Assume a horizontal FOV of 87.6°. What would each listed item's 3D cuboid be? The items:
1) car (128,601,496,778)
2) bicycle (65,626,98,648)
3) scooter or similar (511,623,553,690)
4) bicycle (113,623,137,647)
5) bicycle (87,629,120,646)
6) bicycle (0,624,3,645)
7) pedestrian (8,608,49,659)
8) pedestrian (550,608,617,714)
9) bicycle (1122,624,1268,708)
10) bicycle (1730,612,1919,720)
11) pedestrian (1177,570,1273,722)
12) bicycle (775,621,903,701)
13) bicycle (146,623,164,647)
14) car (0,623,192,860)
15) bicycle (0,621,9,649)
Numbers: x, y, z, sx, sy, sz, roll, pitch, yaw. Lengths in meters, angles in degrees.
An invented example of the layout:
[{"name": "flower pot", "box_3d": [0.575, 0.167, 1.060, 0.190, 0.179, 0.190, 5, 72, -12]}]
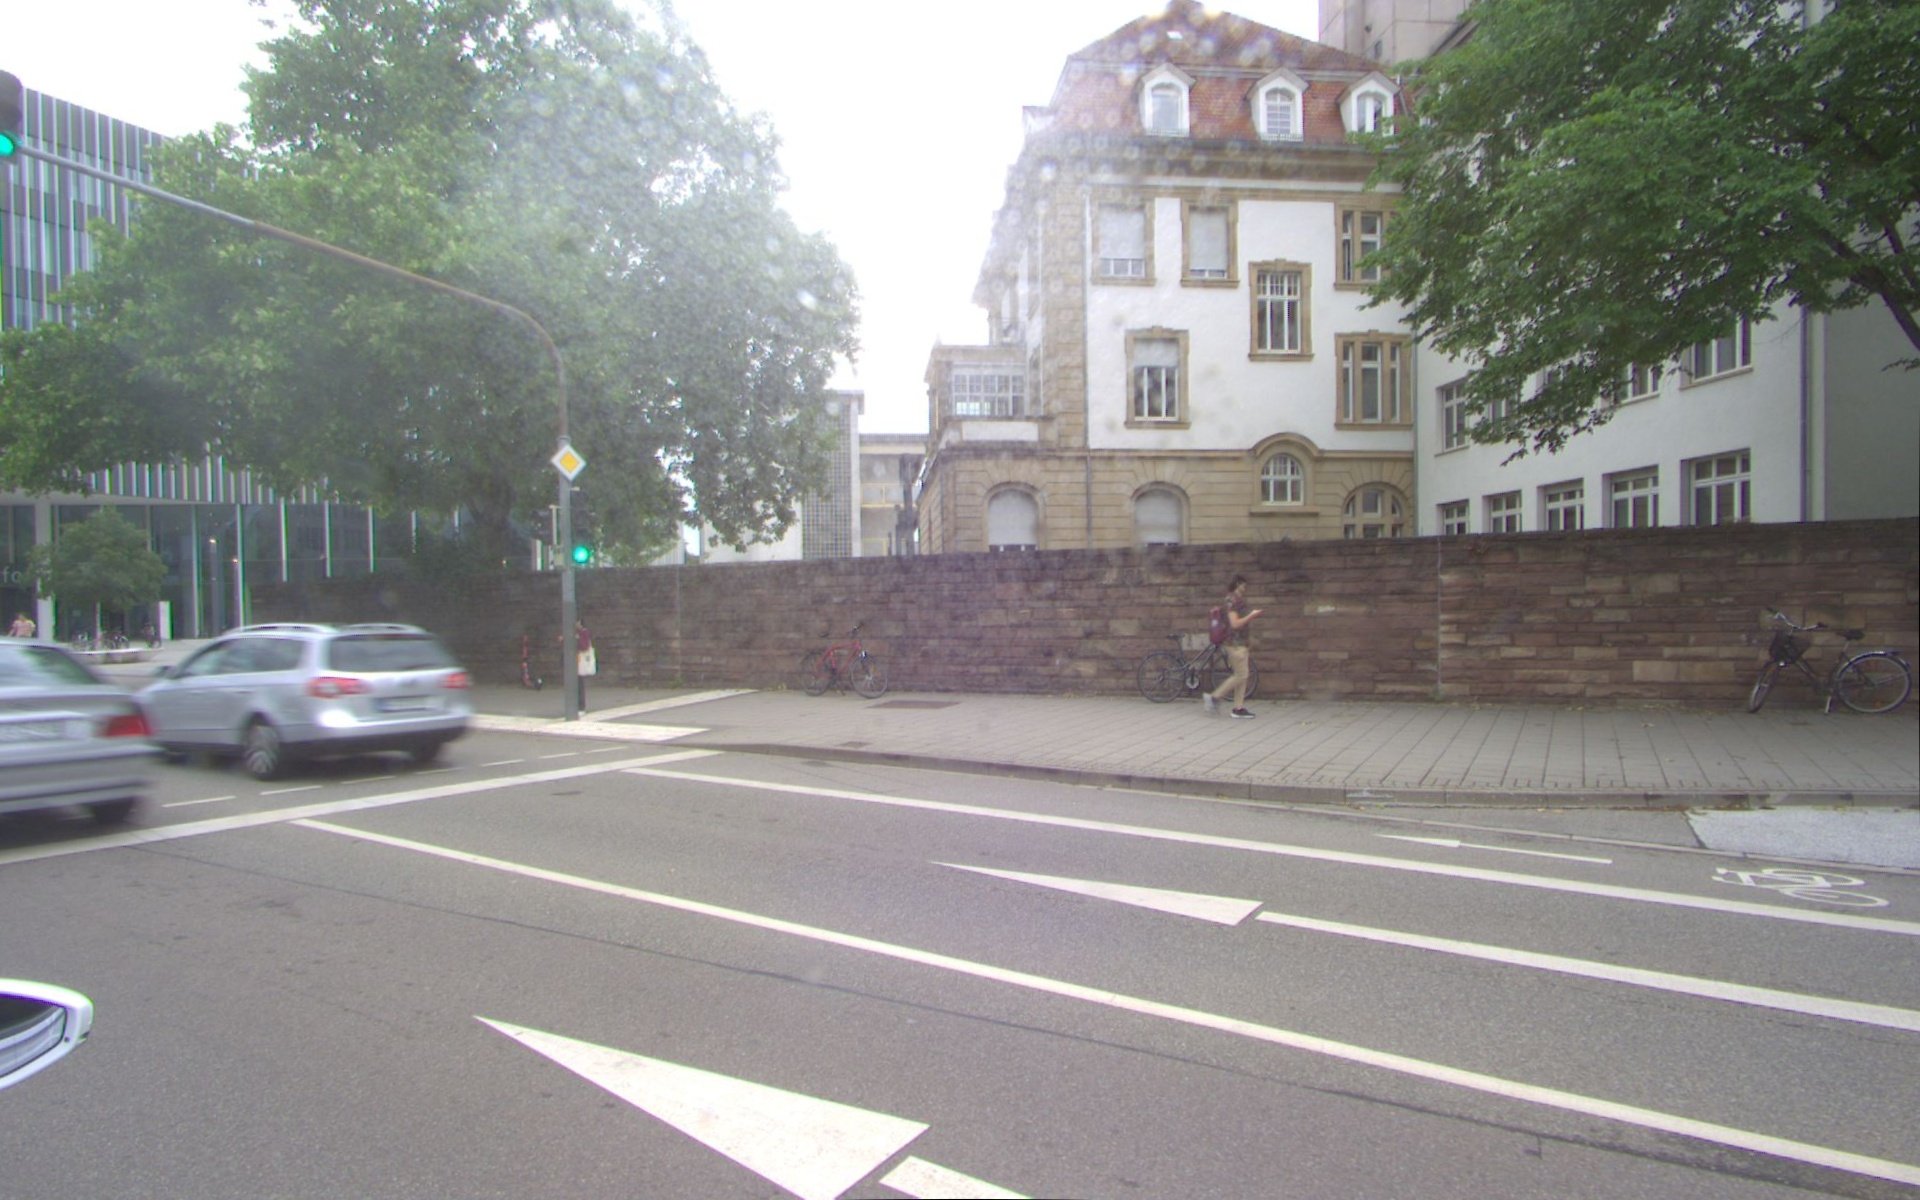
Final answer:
[{"name": "car", "box_3d": [-7.160, 0.901, 10.922, 4.467, 1.570, 1.820, -2, -3, 35]}, {"name": "bicycle", "box_3d": [-42.539, 1.763, 48.498, 0.686, 0.959, 1.975, -2, 1, -27]}, {"name": "scooter or similar", "box_3d": [-8.370, 1.070, 19.549, 0.427, 1.195, 1.693, -3, 2, -33]}, {"name": "bicycle", "box_3d": [-40.490, 1.694, 48.559, 0.802, 1.070, 1.933, -2, 2, -38]}, {"name": "bicycle", "box_3d": [-41.627, 1.821, 48.680, 0.510, 0.726, 1.525, -1, 1, -11]}, {"name": "bicycle", "box_3d": [-48.448, 1.752, 49.936, 0.613, 1.060, 1.696, -2, 2, -31]}, {"name": "pedestrian", "box_3d": [-33.709, 1.205, 36.238, 0.756, 1.789, 0.845, 0, 2, 32]}, {"name": "pedestrian", "box_3d": [-5.930, 0.947, 15.792, 0.627, 1.584, 0.658, 0, 5, 32]}, {"name": "bicycle", "box_3d": [3.337, 0.910, 14.148, 1.934, 1.088, 0.941, -1, 2, 17]}, {"name": "bicycle", "box_3d": [10.174, 0.740, 11.526, 1.889, 1.143, 0.849, -1, 2, 17]}, {"name": "pedestrian", "box_3d": [3.349, 0.554, 12.641, 1.018, 1.846, 0.629, 0, 2, 32]}, {"name": "bicycle", "box_3d": [-1.978, 0.957, 16.305, 1.923, 1.190, 0.802, 0, 3, 27]}, {"name": "bicycle", "box_3d": [-39.238, 1.689, 48.840, 0.616, 1.070, 1.933, -2, 2, -38]}, {"name": "car", "box_3d": [-7.592, 0.895, 7.370, 4.184, 1.432, 1.719, 0, -1, 32]}, {"name": "bicycle", "box_3d": [-46.285, 1.676, 48.204, 0.522, 1.270, 1.651, -3, 2, -39]}]
